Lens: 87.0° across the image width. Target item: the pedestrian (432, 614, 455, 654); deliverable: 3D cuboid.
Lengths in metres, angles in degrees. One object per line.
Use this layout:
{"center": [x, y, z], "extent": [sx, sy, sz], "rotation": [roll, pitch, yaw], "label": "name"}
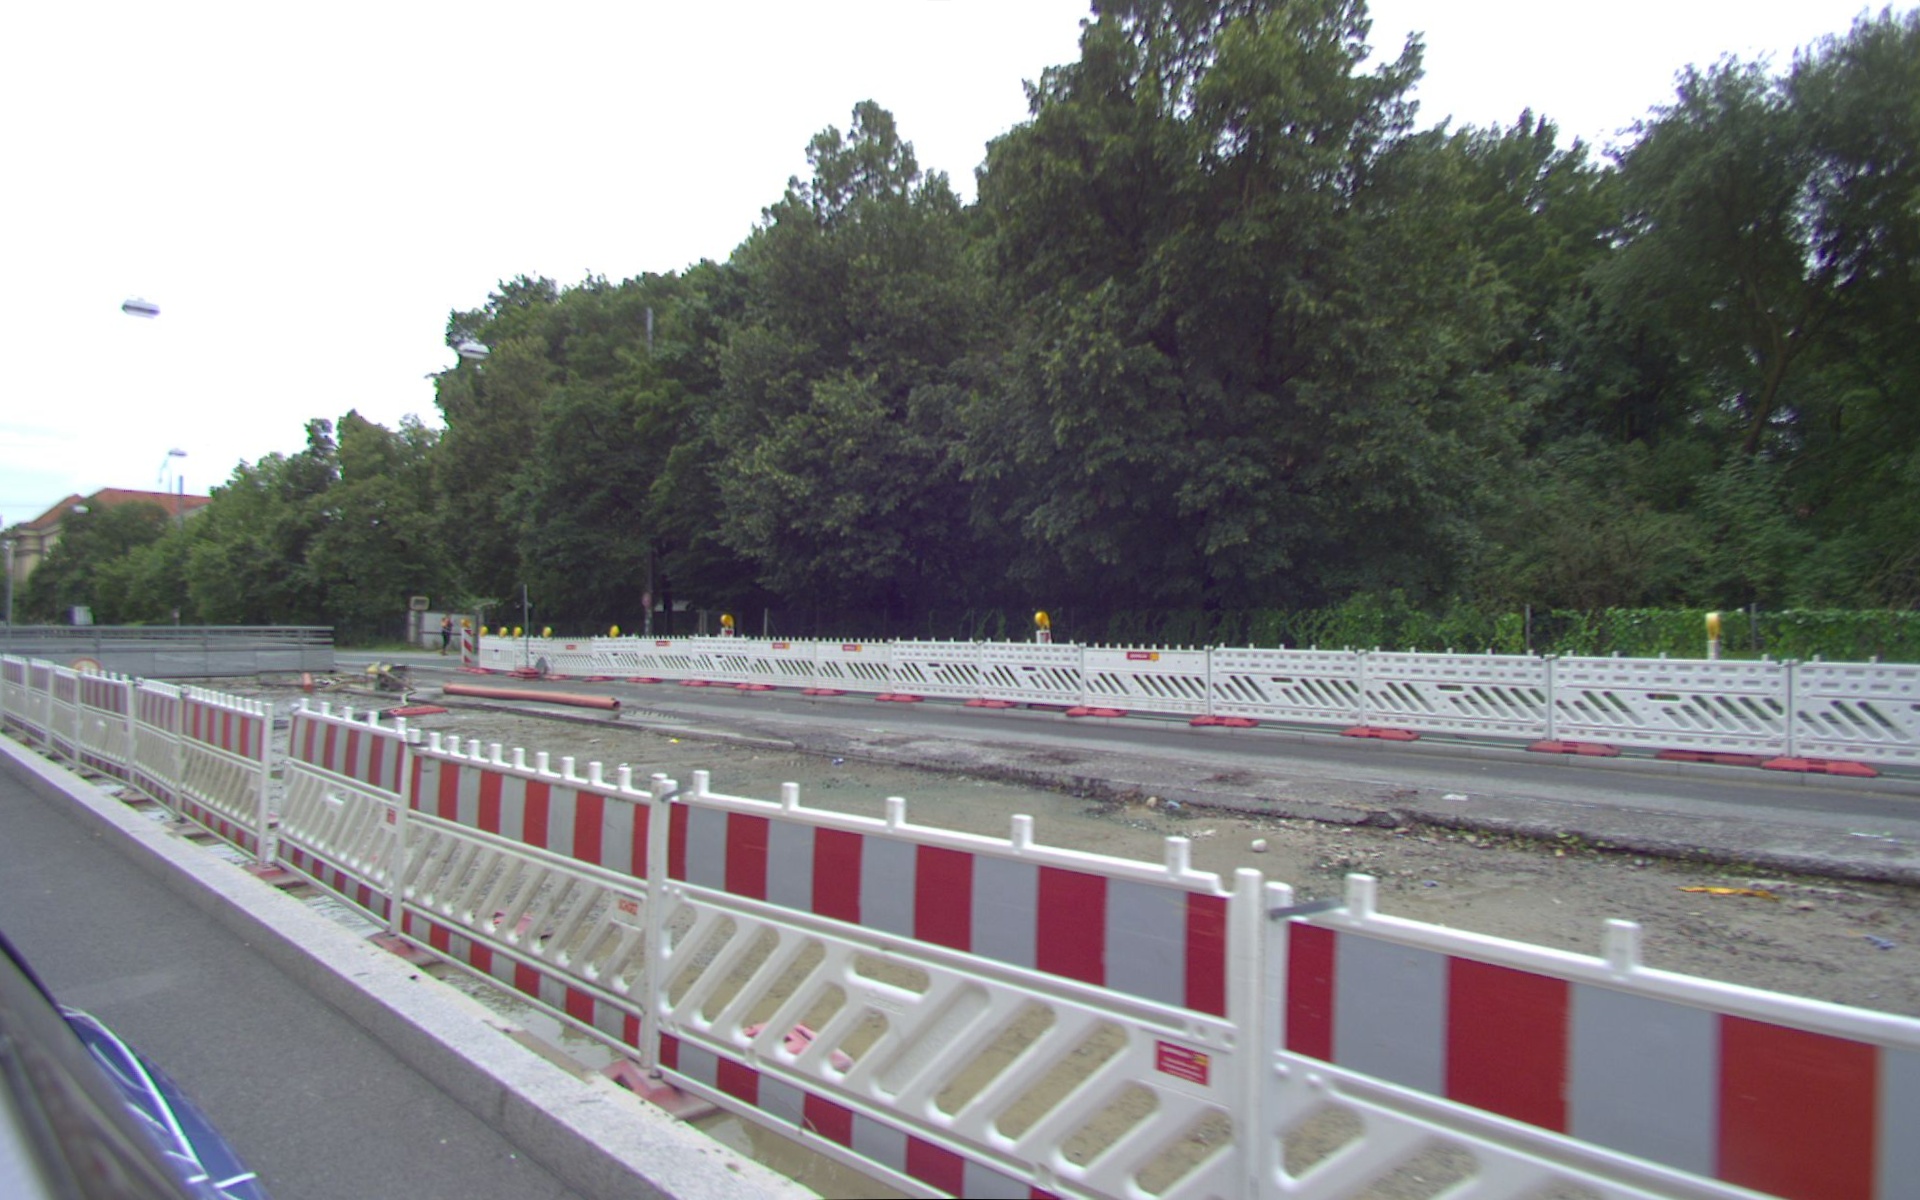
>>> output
{"center": [-21.172, 1.386, 41.483], "extent": [0.698, 1.653, 0.656], "rotation": [-1, -2, 41], "label": "pedestrian"}
